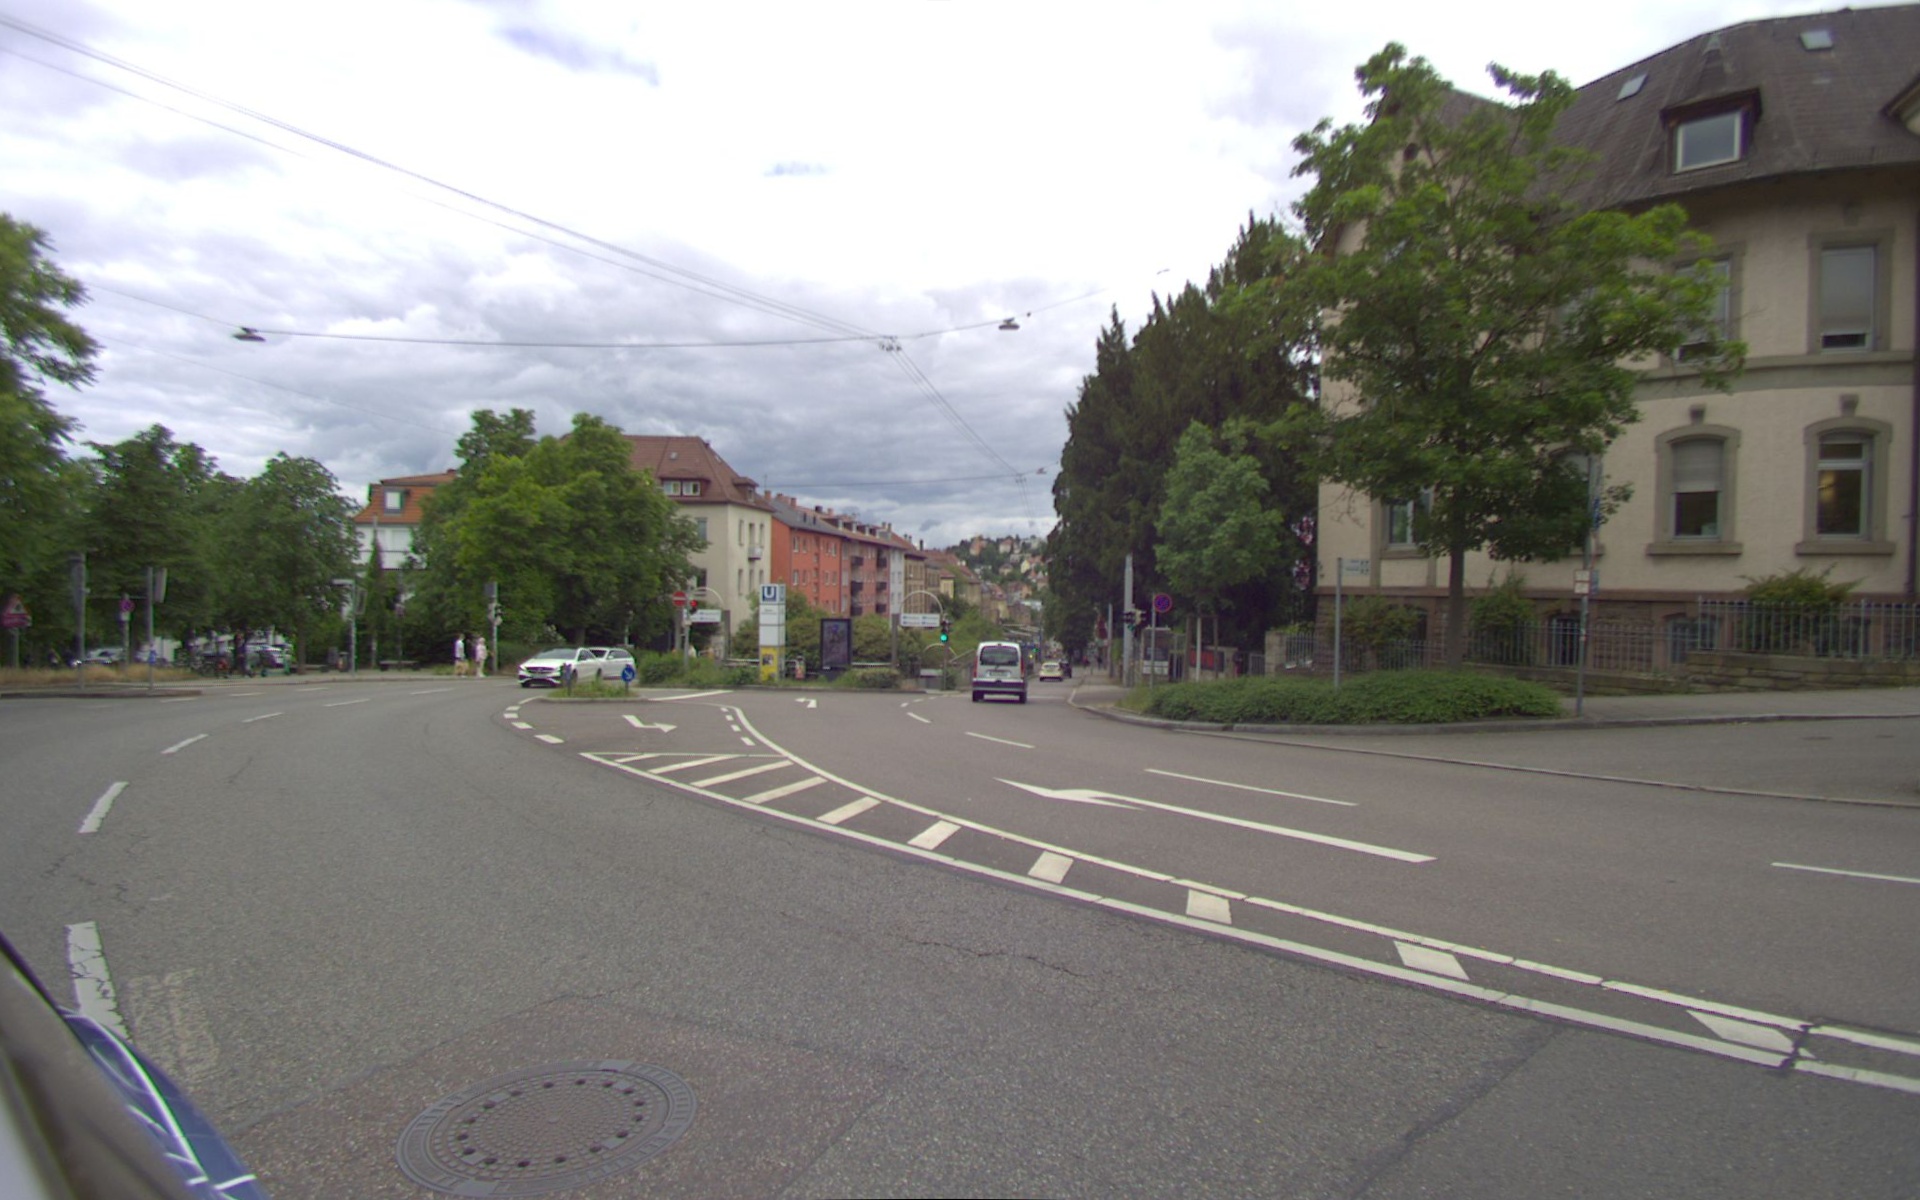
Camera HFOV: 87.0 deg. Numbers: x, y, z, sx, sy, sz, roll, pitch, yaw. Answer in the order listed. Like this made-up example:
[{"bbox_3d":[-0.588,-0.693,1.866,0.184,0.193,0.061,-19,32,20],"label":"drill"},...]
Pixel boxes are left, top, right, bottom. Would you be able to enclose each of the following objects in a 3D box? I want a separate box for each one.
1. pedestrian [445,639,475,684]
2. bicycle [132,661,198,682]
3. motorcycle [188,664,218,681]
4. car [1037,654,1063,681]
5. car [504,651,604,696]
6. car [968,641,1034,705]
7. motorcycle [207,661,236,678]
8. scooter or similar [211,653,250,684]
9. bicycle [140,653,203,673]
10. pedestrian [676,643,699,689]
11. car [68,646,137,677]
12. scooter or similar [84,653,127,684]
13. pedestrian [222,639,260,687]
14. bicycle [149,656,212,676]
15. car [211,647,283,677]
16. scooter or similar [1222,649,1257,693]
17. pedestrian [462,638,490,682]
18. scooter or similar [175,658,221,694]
[{"bbox_3d":[-19.568,2.405,39.622,0.610,1.725,0.724,2,-3,12],"label":"pedestrian"},{"bbox_3d":[-46.129,4.144,58.796,0.917,1.154,2.932,-2,-3,22],"label":"bicycle"},{"bbox_3d":[-49.497,4.719,66.162,0.743,1.041,2.060,0,-3,-12],"label":"motorcycle"},{"bbox_3d":[7.117,5.293,79.772,1.975,2.029,3.993,-1,-2,5],"label":"car"},{"bbox_3d":[-14.239,2.562,35.773,1.971,1.409,4.232,3,-3,-3],"label":"car"},{"bbox_3d":[1.298,2.211,31.317,1.892,1.844,4.035,-1,-3,3],"label":"car"},{"bbox_3d":[-48.580,4.565,66.570,0.743,1.041,2.060,0,-3,-12],"label":"motorcycle"},{"bbox_3d":[-30.364,2.828,42.127,1.227,1.235,0.502,-1,-3,-13],"label":"scooter or similar"},{"bbox_3d":[-47.796,3.831,61.419,0.917,1.154,2.932,-2,-3,22],"label":"bicycle"},{"bbox_3d":[-11.298,2.728,41.968,0.701,1.875,0.611,-2,-5,15],"label":"pedestrian"},{"bbox_3d":[-57.477,4.106,67.945,1.965,1.918,4.729,0,-3,-20],"label":"car"},{"bbox_3d":[-36.158,2.899,42.847,0.462,1.257,1.306,-3,-3,30],"label":"scooter or similar"},{"bbox_3d":[-28.788,2.512,40.533,0.960,1.901,0.849,-2,-3,26],"label":"pedestrian"},{"bbox_3d":[-46.821,3.958,60.815,0.917,1.154,2.932,-2,-3,22],"label":"bicycle"},{"bbox_3d":[-49.921,4.311,70.928,3.722,2.029,2.006,1,-3,-20],"label":"car"},{"bbox_3d":[7.557,1.932,27.435,0.545,1.169,1.208,0,-5,-2],"label":"scooter or similar"},{"bbox_3d":[-19.699,2.438,41.185,0.610,1.725,0.724,2,-3,12],"label":"pedestrian"},{"bbox_3d":[-27.547,2.747,36.578,1.227,1.235,0.502,-1,-3,-13],"label":"scooter or similar"}]
